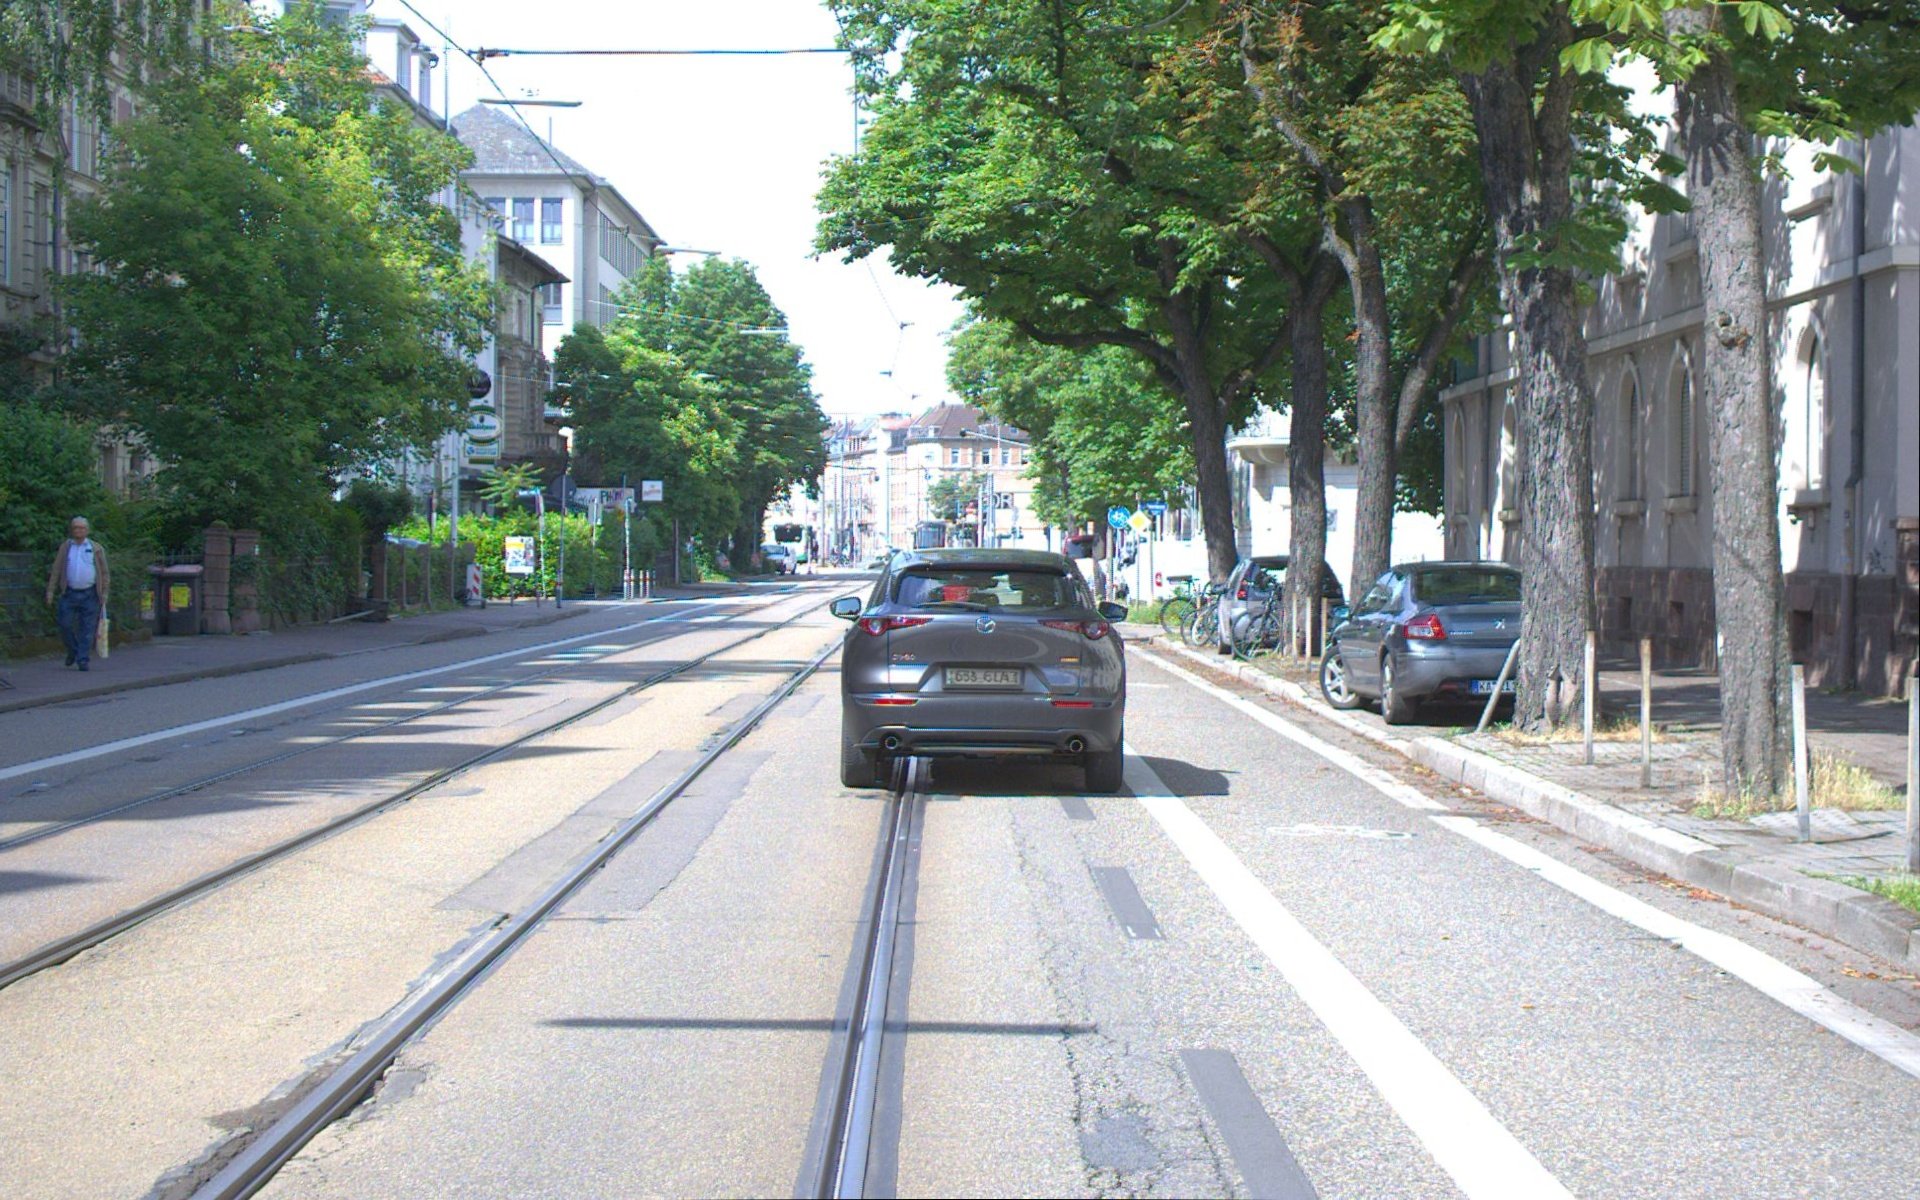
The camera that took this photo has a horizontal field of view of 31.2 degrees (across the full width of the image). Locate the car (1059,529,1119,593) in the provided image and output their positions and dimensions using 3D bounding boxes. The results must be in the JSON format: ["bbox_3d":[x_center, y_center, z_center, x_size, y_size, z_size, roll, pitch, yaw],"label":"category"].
[{"bbox_3d":[4.025,-1.227,107.915,1.720,1.962,4.207,0,1,0],"label":"car"}]

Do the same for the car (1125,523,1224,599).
[{"bbox_3d":[5.653,-1.059,91.121,1.786,1.932,4.992,0,1,-6],"label":"car"}]

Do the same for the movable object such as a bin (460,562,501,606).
[{"bbox_3d":[-11.129,-0.376,79.814,0.745,0.984,1.114,3,1,0],"label":"movable object such as a bin"}]

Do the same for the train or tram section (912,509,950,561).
[{"bbox_3d":[-2.105,-4.758,252.962,2.571,3.760,13.026,0,1,0],"label":"train or tram section"}]

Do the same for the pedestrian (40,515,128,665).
[{"bbox_3d":[-10.095,-0.118,39.635,0.822,1.700,0.891,0,1,-3],"label":"pedestrian"}]

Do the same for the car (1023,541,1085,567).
[{"bbox_3d":[6.364,-3.130,233.041,3.805,1.612,1.638,2,1,-18],"label":"car"}]

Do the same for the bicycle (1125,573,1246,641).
[{"bbox_3d":[3.616,0.106,55.130,1.903,1.068,0.402,1,1,0],"label":"bicycle"}]

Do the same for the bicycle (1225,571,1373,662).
[{"bbox_3d":[4.485,0.218,45.438,1.895,1.172,0.513,0,0,12],"label":"bicycle"}]

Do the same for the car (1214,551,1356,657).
[{"bbox_3d":[4.653,0.030,49.650,1.666,1.425,3.766,-2,1,0],"label":"car"}]

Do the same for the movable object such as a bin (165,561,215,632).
[{"bbox_3d":[-11.913,-0.058,53.223,0.538,1.090,0.789,1,1,5],"label":"movable object such as a bin"}]

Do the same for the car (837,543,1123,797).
[{"bbox_3d":[0.102,0.394,22.592,1.720,1.521,3.590,0,1,-1],"label":"car"}]

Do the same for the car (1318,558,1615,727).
[{"bbox_3d":[4.603,0.337,31.856,1.846,1.404,4.395,-1,1,-3],"label":"car"}]

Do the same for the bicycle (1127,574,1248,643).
[{"bbox_3d":[3.618,0.128,54.725,1.903,1.068,0.402,1,1,0],"label":"bicycle"}]

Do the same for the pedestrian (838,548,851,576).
[{"bbox_3d":[-8.268,-2.719,246.074,0.884,2.007,0.618,0,1,-4],"label":"pedestrian"}]

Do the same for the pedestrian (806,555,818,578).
[{"bbox_3d":[-9.536,-2.168,221.799,0.751,1.505,0.824,0,1,-4],"label":"pedestrian"}]

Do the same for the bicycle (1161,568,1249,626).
[{"bbox_3d":[4.208,-0.053,59.068,1.491,0.980,0.259,0,0,2],"label":"bicycle"}]

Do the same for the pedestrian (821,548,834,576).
[{"bbox_3d":[-9.467,-2.732,246.109,0.884,2.007,0.618,0,1,-4],"label":"pedestrian"}]

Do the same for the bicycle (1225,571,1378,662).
[{"bbox_3d":[4.458,0.217,44.875,1.938,1.172,0.513,0,0,12],"label":"bicycle"}]

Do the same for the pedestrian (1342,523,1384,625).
[{"bbox_3d":[7.283,-0.464,62.169,0.610,1.829,0.879,0,-1,-2],"label":"pedestrian"}]

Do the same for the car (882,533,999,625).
[{"bbox_3d":[-0.362,-0.406,62.327,1.993,1.523,4.000,3,1,-1],"label":"car"}]

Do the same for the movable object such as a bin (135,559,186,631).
[{"bbox_3d":[-12.423,-0.076,53.420,0.549,1.104,0.789,1,1,5],"label":"movable object such as a bin"}]

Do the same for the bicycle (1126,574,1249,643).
[{"bbox_3d":[3.586,0.128,54.223,1.903,1.068,0.402,1,1,0],"label":"bicycle"}]
